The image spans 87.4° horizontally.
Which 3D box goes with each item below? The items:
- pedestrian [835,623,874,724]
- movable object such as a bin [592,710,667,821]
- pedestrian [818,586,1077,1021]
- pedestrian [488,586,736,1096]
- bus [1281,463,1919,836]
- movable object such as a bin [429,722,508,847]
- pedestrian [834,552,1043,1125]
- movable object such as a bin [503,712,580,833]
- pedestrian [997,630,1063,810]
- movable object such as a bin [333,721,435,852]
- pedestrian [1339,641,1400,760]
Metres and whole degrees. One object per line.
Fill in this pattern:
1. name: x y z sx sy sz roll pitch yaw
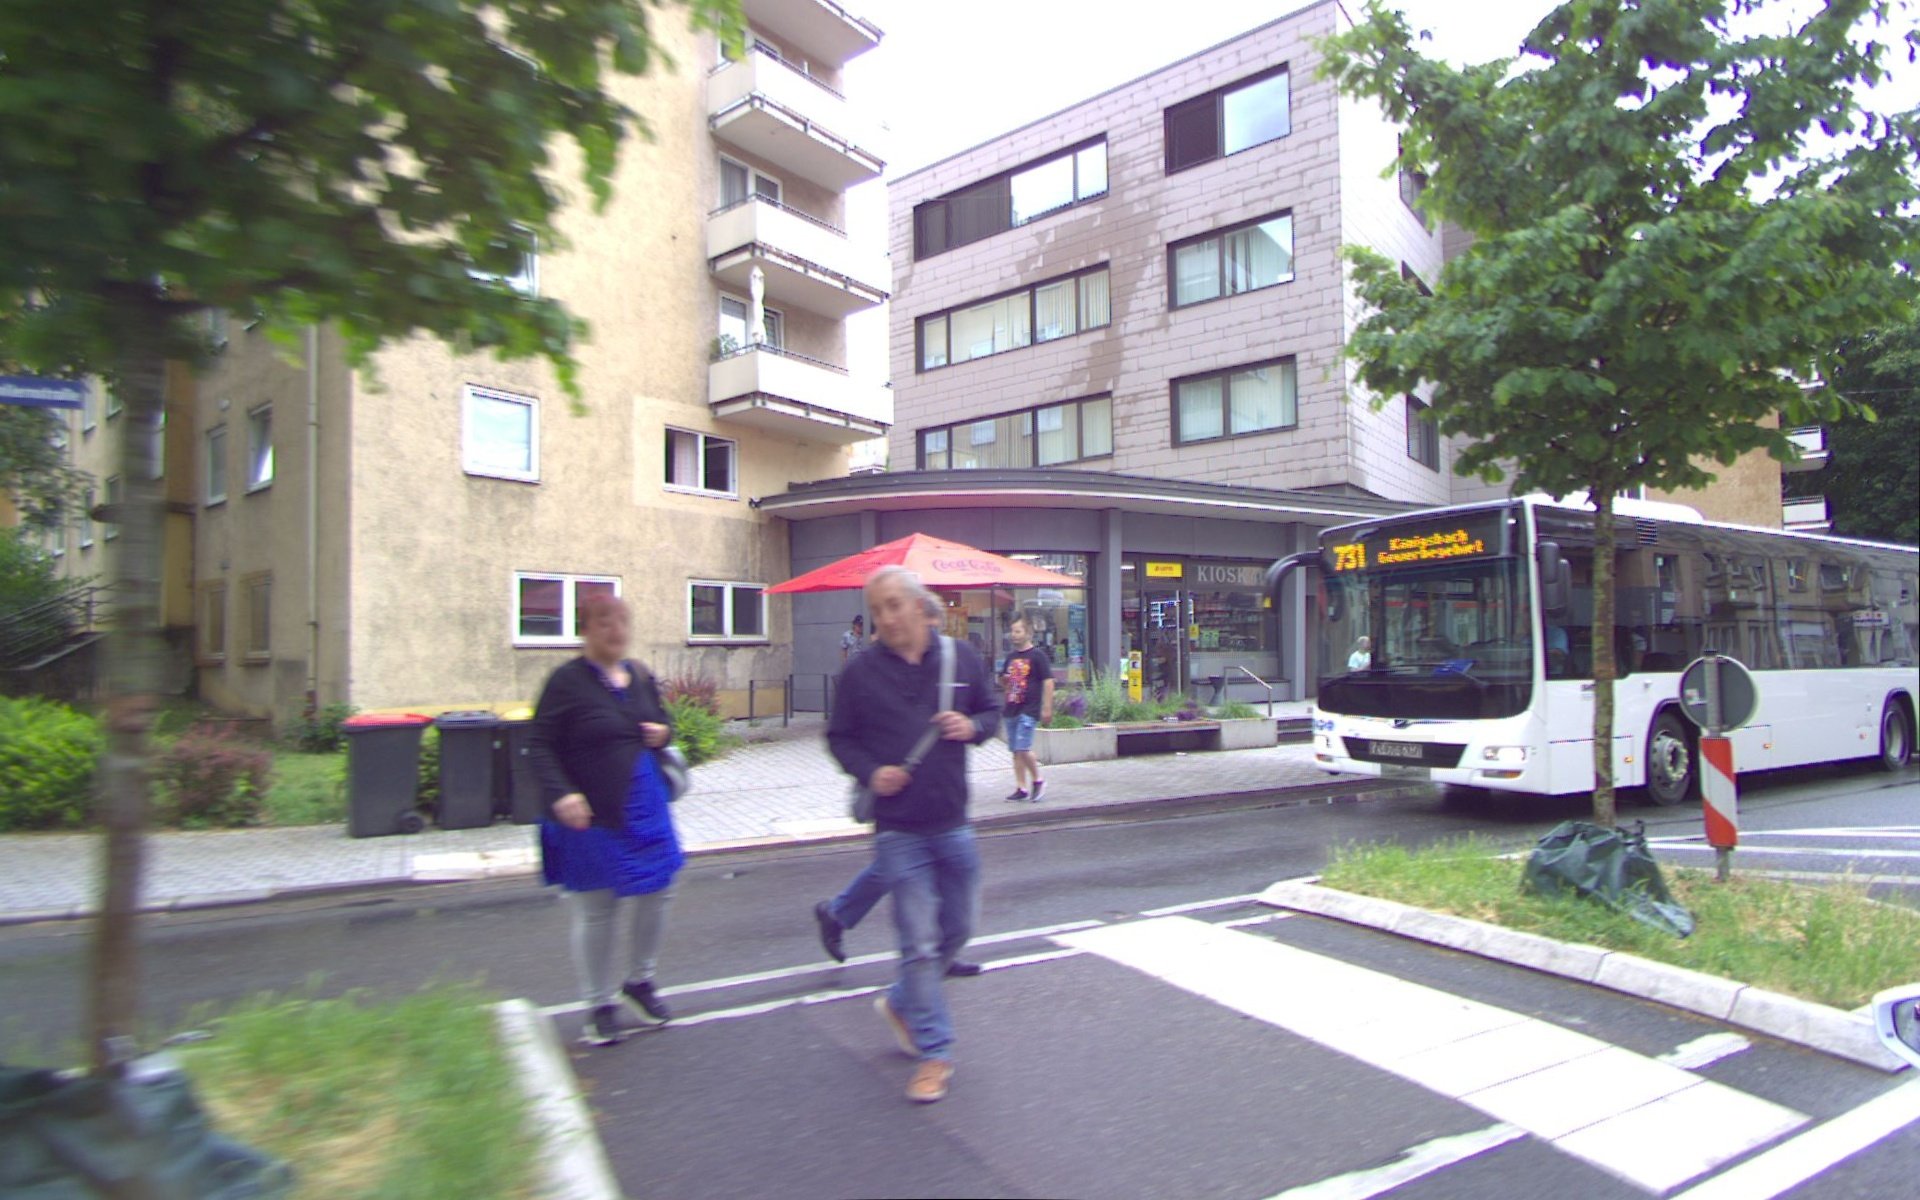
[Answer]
1. pedestrian: -1.973 1.364 18.780 0.625 1.839 0.636 1 -3 -17
2. movable object such as a bin: -3.392 1.687 10.342 0.530 1.085 0.472 1 -4 8
3. pedestrian: -0.092 0.864 4.730 0.708 1.753 1.054 2 -5 -38
4. pedestrian: -1.369 0.855 3.955 0.735 1.731 0.673 3 -6 -37
5. bus: 9.353 0.580 12.876 11.814 3.241 2.670 1 -4 -30
6. movable object such as a bin: -4.637 1.717 9.475 0.599 1.095 0.488 4 -5 -28
7. pedestrian: -0.076 0.742 3.432 0.459 1.731 0.542 -4 -6 41
8. movable object such as a bin: -4.058 1.647 9.729 0.599 1.095 0.488 4 -5 -28
9. pedestrian: 0.739 1.243 10.651 0.462 1.814 0.539 -1 1 -37
10. movable object such as a bin: -5.203 1.662 9.109 0.722 1.095 0.552 4 -5 -28
11. pedestrian: 6.285 1.520 15.417 0.650 1.728 0.659 2 -2 39
